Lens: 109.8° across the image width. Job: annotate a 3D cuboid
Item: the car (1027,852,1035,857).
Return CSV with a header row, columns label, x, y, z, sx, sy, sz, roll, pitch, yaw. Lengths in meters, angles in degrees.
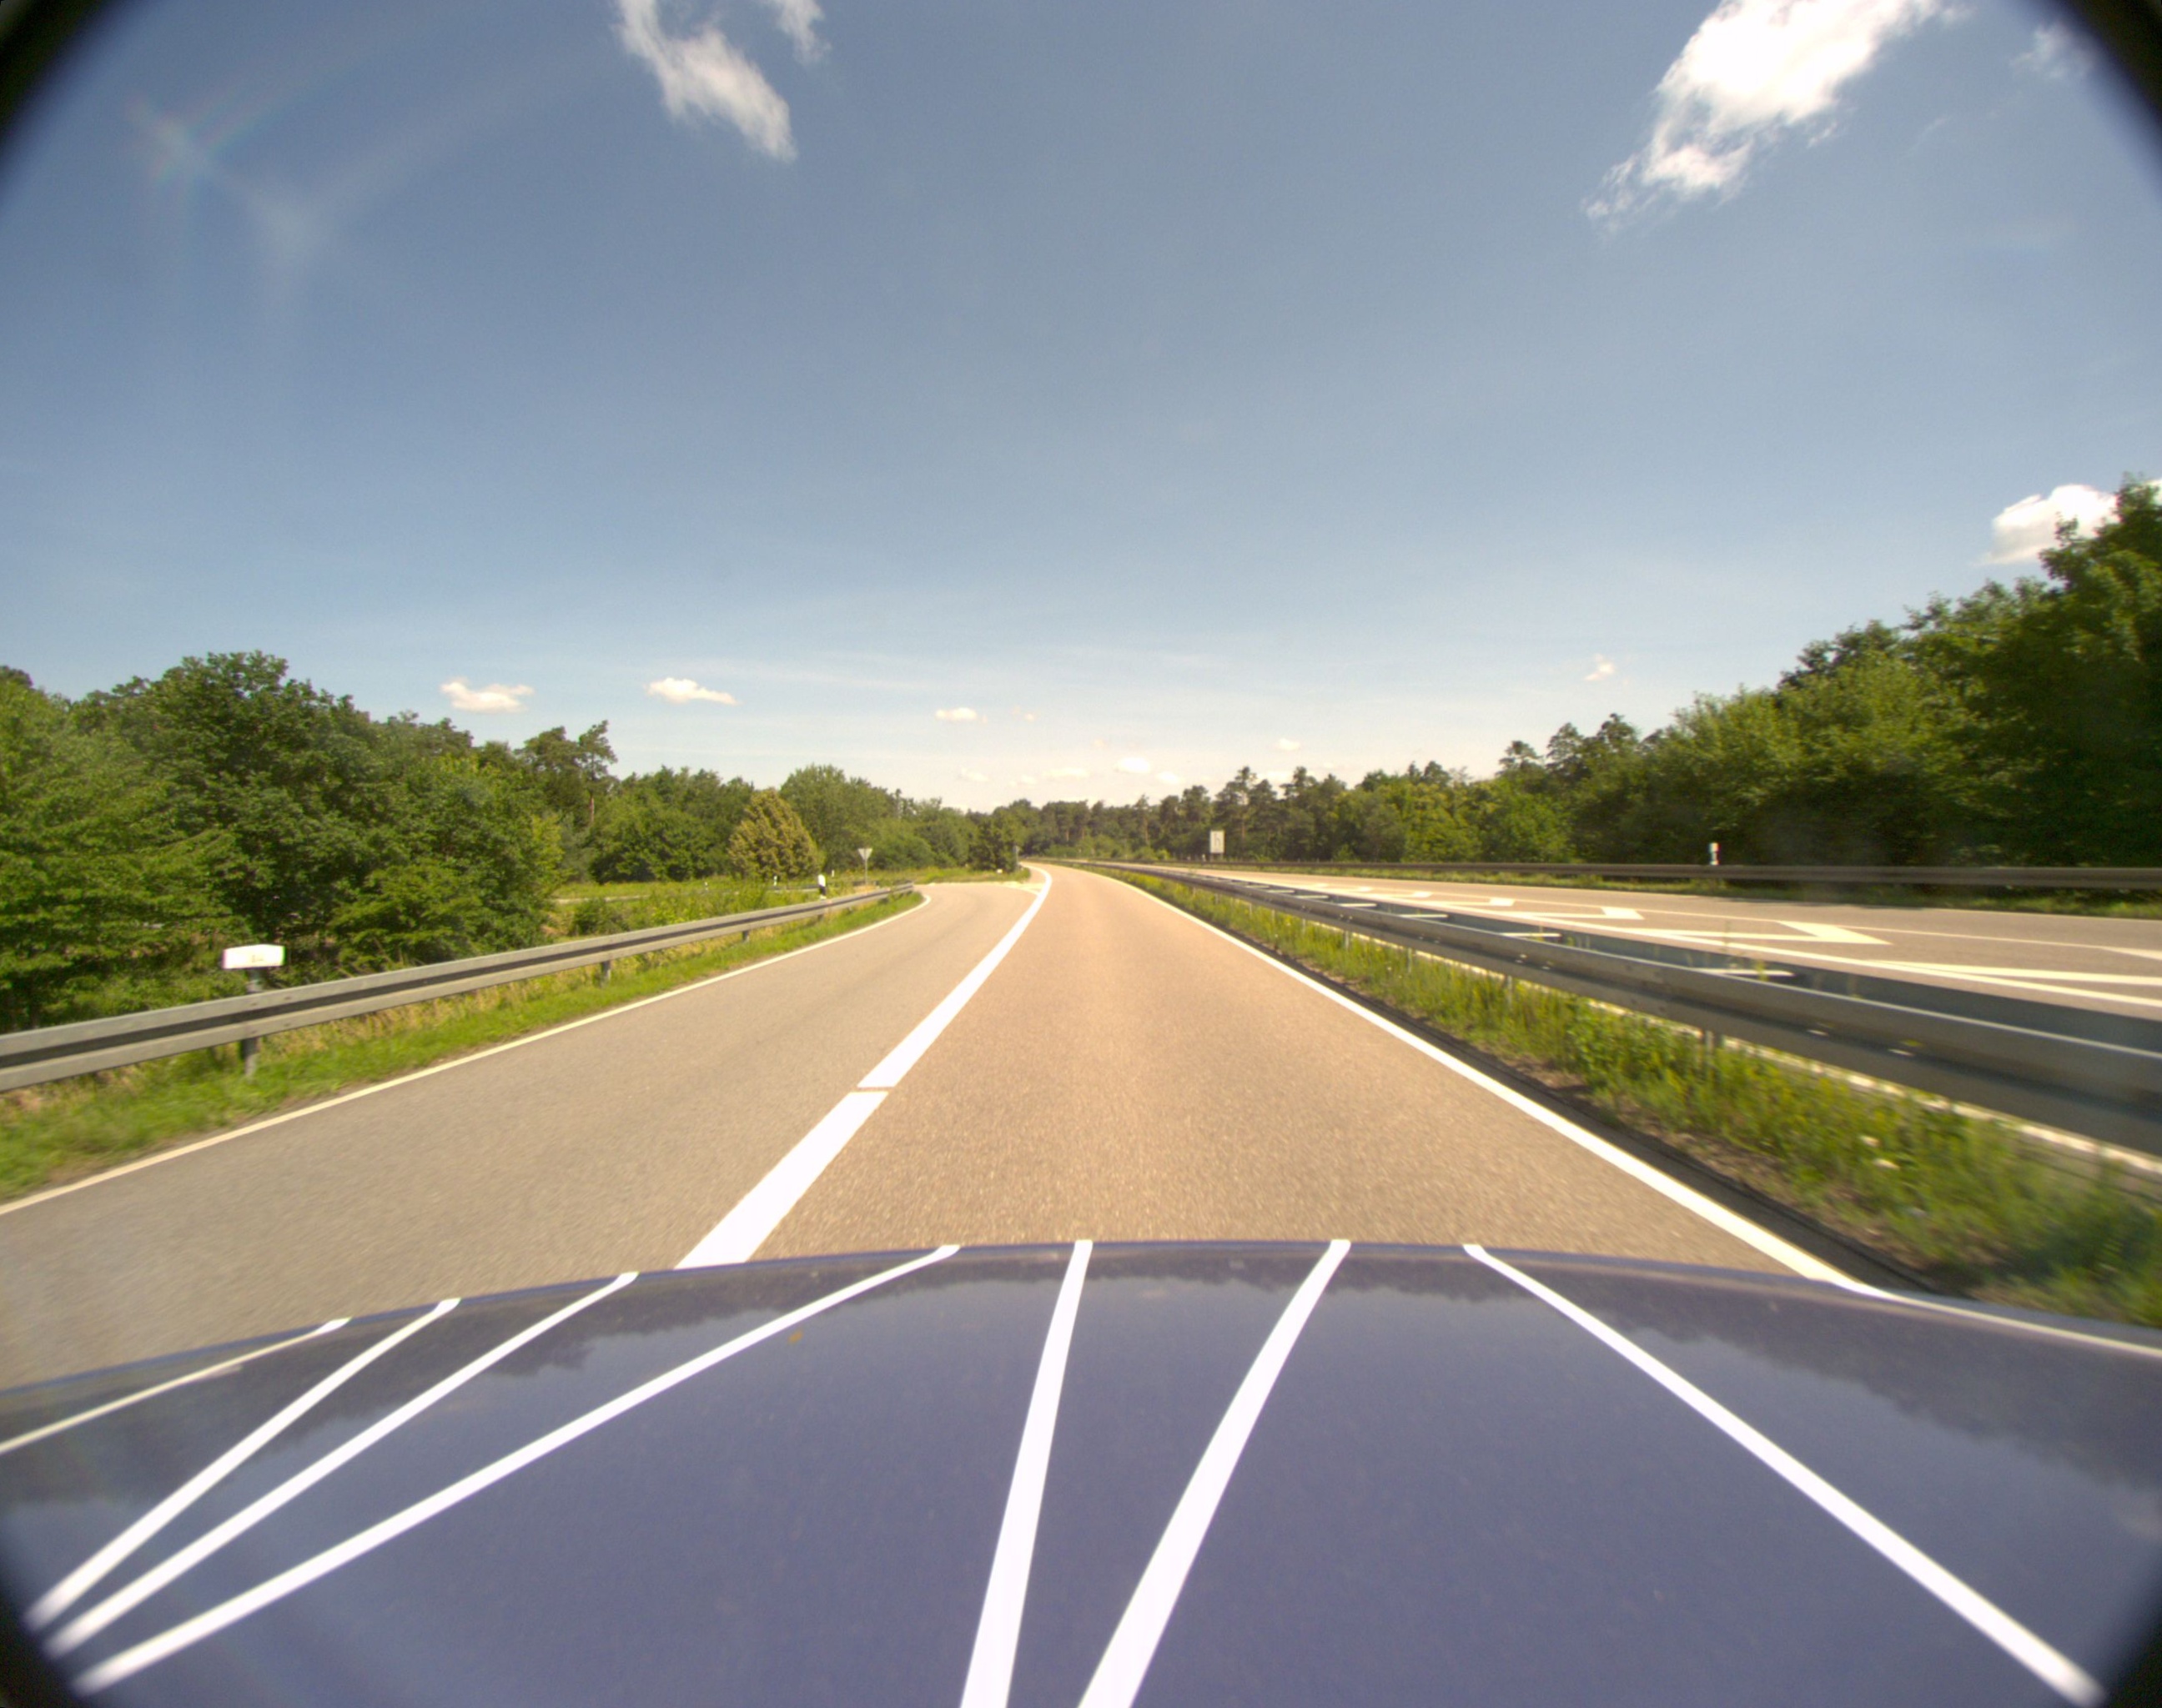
label,x,y,z,sx,sy,sz,roll,pitch,yaw
car,-14.051,0.104,214.255,1.761,1.492,4.570,-3,1,-8
